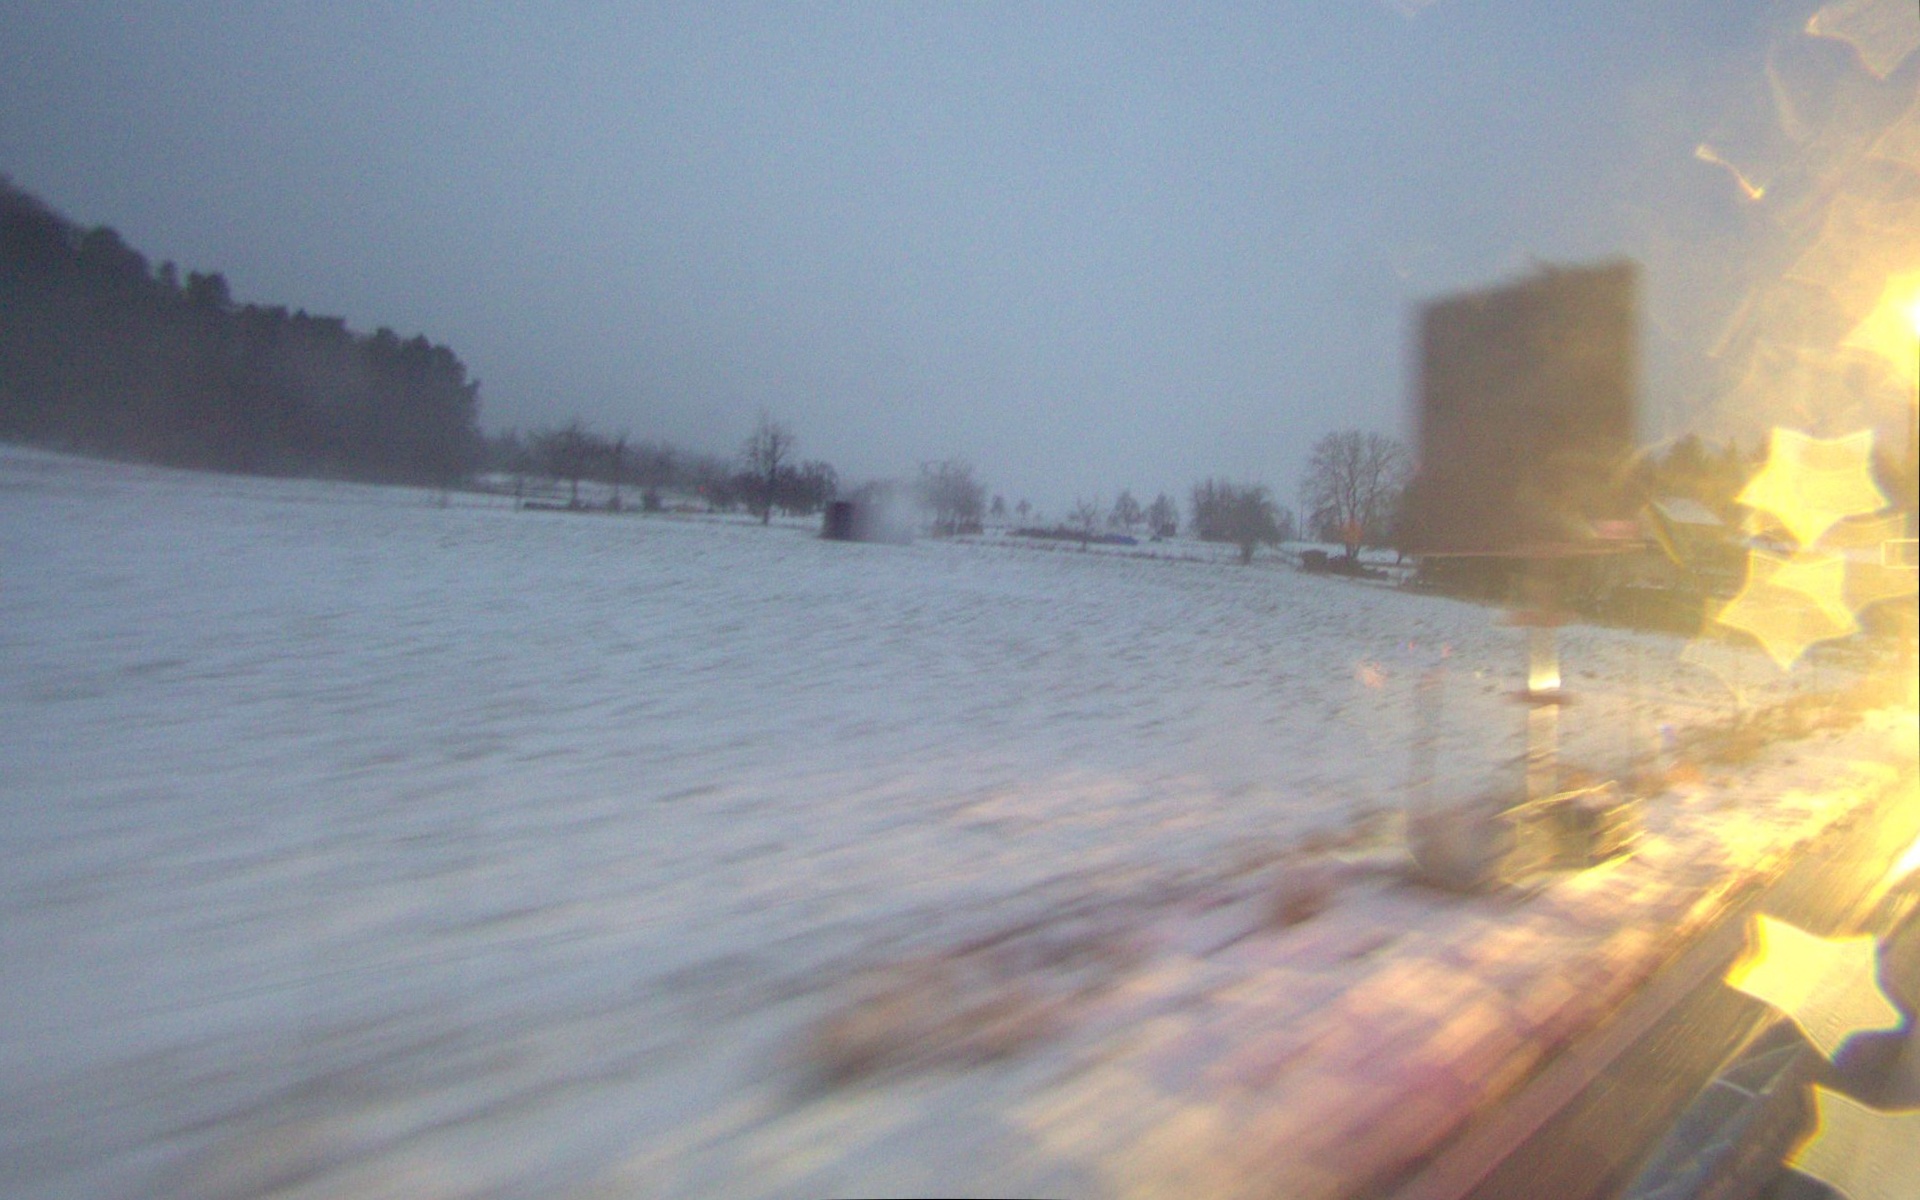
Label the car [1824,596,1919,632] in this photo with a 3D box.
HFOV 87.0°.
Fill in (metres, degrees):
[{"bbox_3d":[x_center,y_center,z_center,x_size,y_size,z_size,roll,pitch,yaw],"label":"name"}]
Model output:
[{"bbox_3d":[50.830,0.785,55.823,1.825,1.677,4.416,3,2,-32],"label":"car"}]
